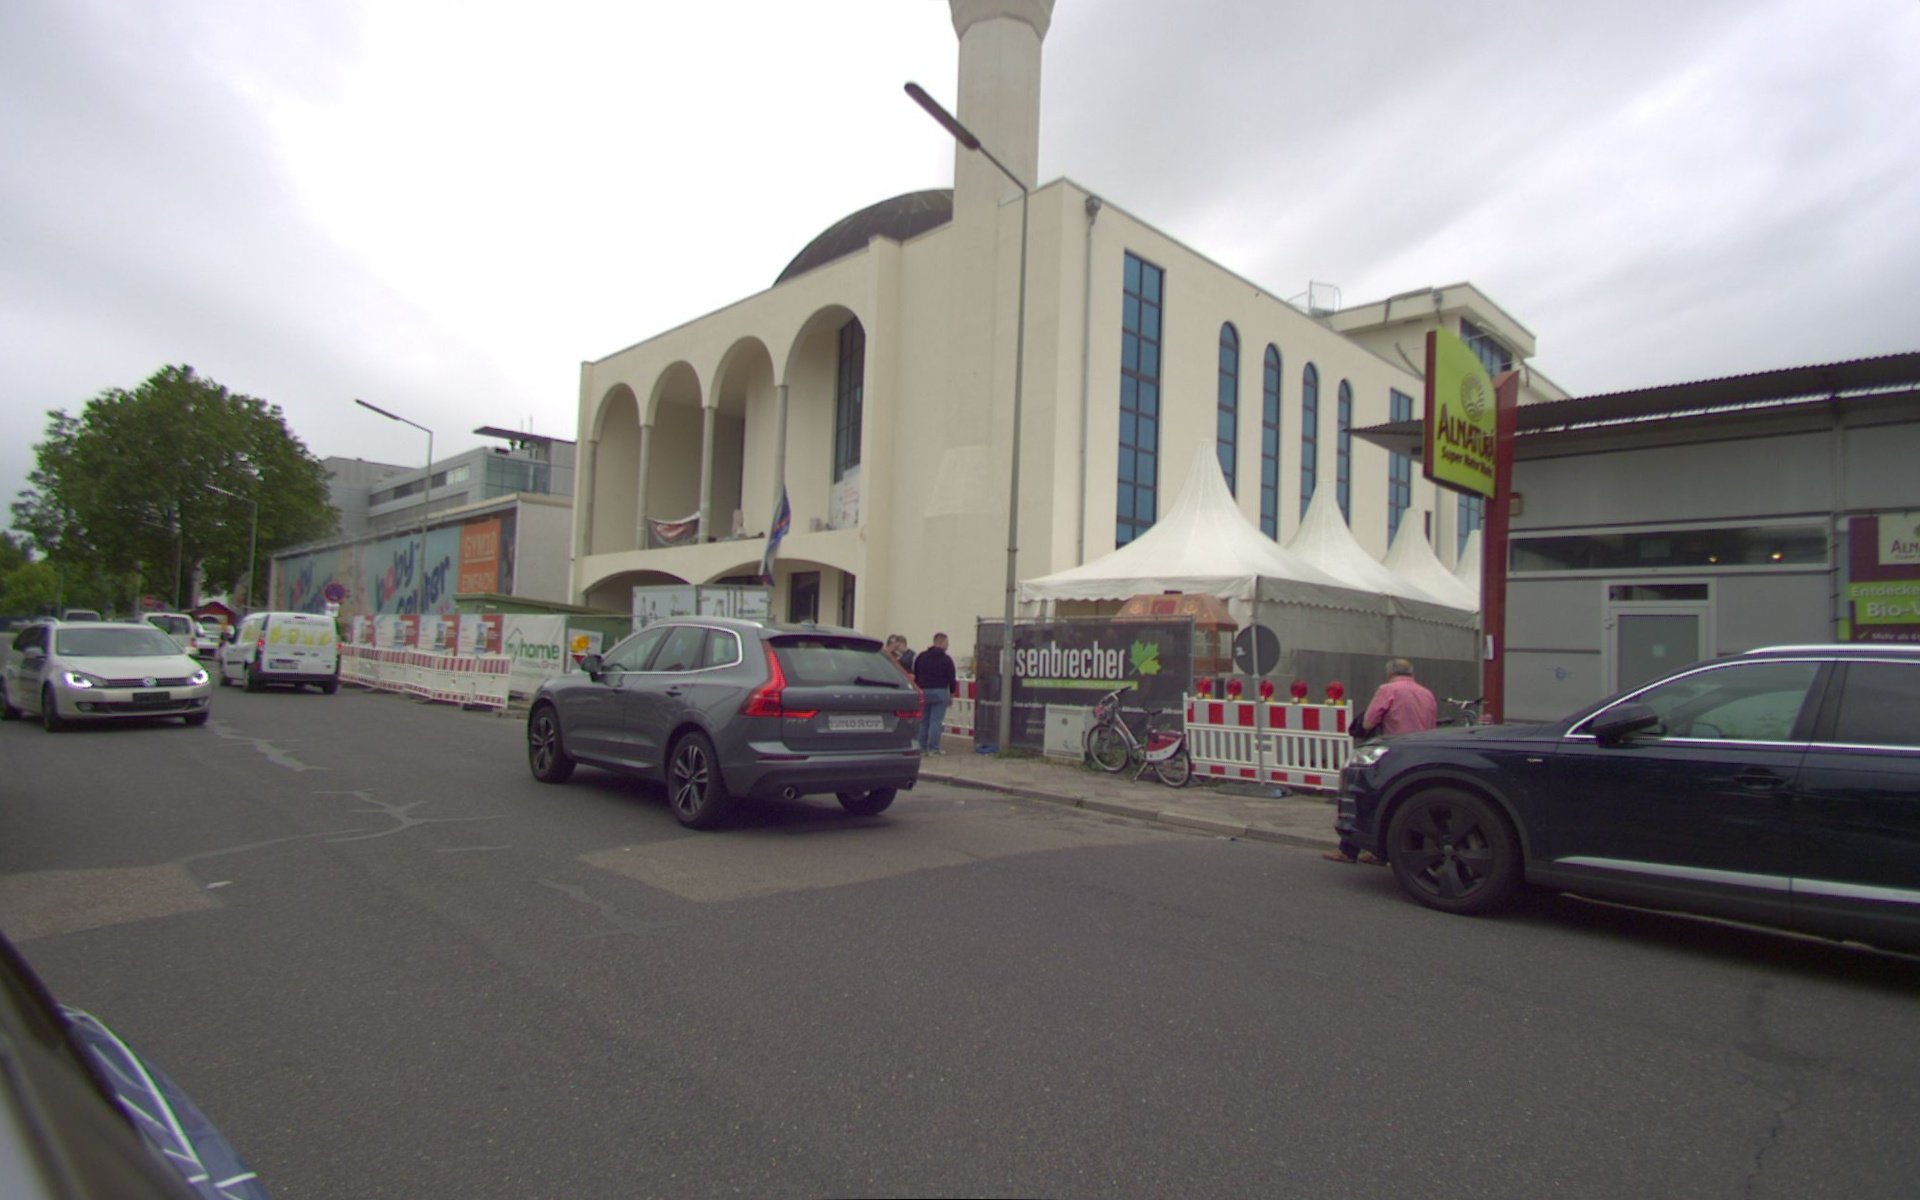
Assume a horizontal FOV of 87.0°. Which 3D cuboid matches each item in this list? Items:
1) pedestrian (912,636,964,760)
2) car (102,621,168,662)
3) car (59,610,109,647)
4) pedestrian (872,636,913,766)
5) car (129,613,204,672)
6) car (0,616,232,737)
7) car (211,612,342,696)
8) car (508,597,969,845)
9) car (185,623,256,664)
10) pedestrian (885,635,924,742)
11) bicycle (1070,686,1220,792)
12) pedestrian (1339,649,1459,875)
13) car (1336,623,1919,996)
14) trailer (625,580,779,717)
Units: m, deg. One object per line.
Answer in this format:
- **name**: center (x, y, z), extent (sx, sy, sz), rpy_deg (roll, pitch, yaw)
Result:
- **pedestrian**: center (-0.317, 1.391, 14.607), extent (0.686, 1.731, 0.687), rpy_deg (-2, -2, 0)
- **car**: center (-34.680, 1.719, 42.509), extent (1.709, 1.583, 3.949), rpy_deg (7, -6, -44)
- **car**: center (-52.108, 1.689, 60.174), extent (1.904, 2.029, 4.960), rpy_deg (5, -4, -43)
- **pedestrian**: center (-0.911, 1.359, 13.747), extent (0.506, 1.705, 0.533), rpy_deg (-2, -3, -3)
- **car**: center (-27.428, 1.423, 34.919), extent (1.772, 1.821, 4.391), rpy_deg (6, -4, -40)
- **car**: center (-12.322, 0.992, 14.352), extent (4.283, 1.462, 1.739), rpy_deg (0, -3, 32)
- **car**: center (-15.886, 1.213, 23.445), extent (1.670, 1.774, 4.137), rpy_deg (5, -4, -45)
- **car**: center (-2.209, 0.924, 9.211), extent (1.911, 1.697, 4.498), rpy_deg (6, -5, -45)
- **car**: center (-32.684, 1.924, 44.706), extent (1.901, 1.586, 4.153), rpy_deg (9, -7, -43)
- **pedestrian**: center (-0.859, 1.366, 15.763), extent (0.485, 1.624, 0.540), rpy_deg (1, -3, 6)
- **bicycle**: center (2.222, 1.650, 12.363), extent (0.537, 1.086, 1.905), rpy_deg (4, -3, -38)
- **pedestrian**: center (3.443, 1.246, 7.977), extent (0.668, 1.634, 0.651), rpy_deg (4, -6, 10)
- **car**: center (4.802, 1.074, 5.618), extent (1.843, 1.704, 4.733), rpy_deg (9, -7, -43)
- **trailer**: center (-5.461, 1.021, 21.261), extent (1.776, 2.626, 3.195), rpy_deg (5, -4, -41)
